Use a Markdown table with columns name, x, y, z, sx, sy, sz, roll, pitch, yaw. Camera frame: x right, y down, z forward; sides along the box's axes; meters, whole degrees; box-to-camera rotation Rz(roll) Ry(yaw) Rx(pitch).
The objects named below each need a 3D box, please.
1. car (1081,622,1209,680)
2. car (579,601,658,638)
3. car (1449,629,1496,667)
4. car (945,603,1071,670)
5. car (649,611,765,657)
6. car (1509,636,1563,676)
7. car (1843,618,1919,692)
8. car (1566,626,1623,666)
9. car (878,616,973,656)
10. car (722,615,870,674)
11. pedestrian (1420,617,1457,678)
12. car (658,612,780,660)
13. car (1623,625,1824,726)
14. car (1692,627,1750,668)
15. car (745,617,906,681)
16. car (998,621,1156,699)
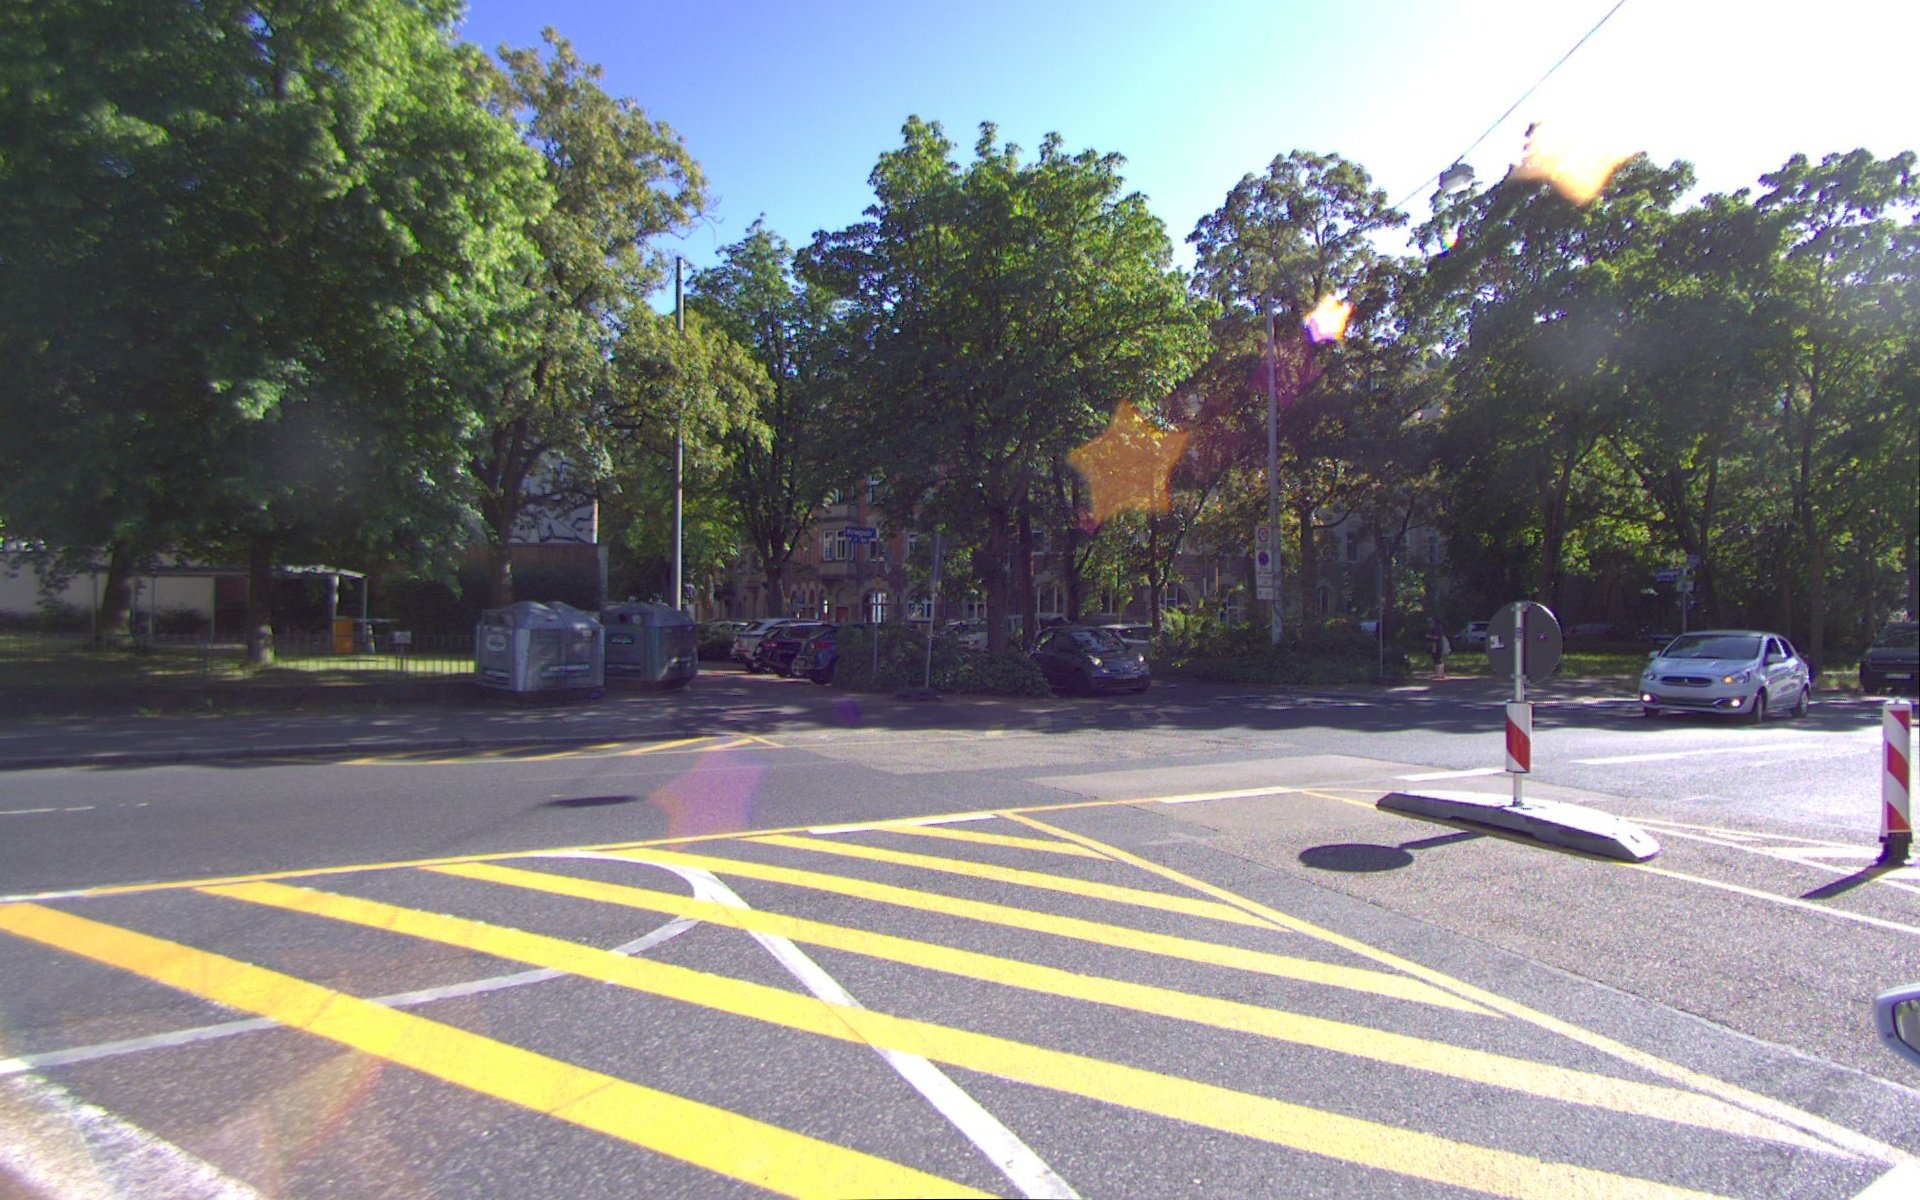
| name | x | y | z | sx | sy | sz | roll | pitch | yaw |
| --- | --- | --- | --- | --- | --- | --- | --- | --- | --- |
| car | 6.218 | 1.729 | 33.741 | 3.956 | 1.675 | 1.836 | 5 | -2 | -31 |
| car | -20.716 | 1.187 | 60.934 | 4.333 | 2.173 | 1.839 | 1 | -1 | -27 |
| car | 24.644 | 2.256 | 48.405 | 1.944 | 1.684 | 3.996 | 0 | -1 | 26 |
| car | 2.021 | 1.528 | 41.621 | 4.930 | 2.354 | 1.836 | 5 | -2 | -31 |
| car | -9.769 | 1.327 | 38.875 | 3.956 | 1.510 | 1.836 | 5 | -2 | -31 |
| car | 26.572 | 2.546 | 46.445 | 1.945 | 1.684 | 3.995 | 0 | -1 | 27 |
| car | 27.103 | 1.509 | 28.225 | 4.809 | 1.955 | 2.186 | 1 | -1 | -32 |
| car | 28.661 | 2.038 | 45.477 | 1.946 | 1.684 | 3.994 | 0 | -1 | 29 |
| car | -1.596 | 1.654 | 46.125 | 3.948 | 1.676 | 1.839 | 2 | 0 | -26 |
| car | -4.910 | 1.347 | 30.221 | 3.956 | 1.510 | 1.836 | 5 | -2 | -31 |
| pedestrian | 13.148 | 1.304 | 27.608 | 0.701 | 1.648 | 0.671 | 1 | 0 | 2 |
| car | -8.892 | 1.335 | 37.056 | 3.956 | 1.510 | 1.836 | 5 | -2 | -31 |
| car | 13.207 | 1.216 | 17.320 | 3.822 | 1.539 | 1.747 | 1 | -2 | -36 |
| car | 33.235 | 2.036 | 43.865 | 1.951 | 1.684 | 3.984 | 0 | -1 | 38 |
| car | -3.689 | 1.363 | 27.782 | 3.956 | 1.510 | 1.836 | 5 | -2 | -31 |
| car | 2.599 | 1.299 | 23.192 | 1.786 | 1.489 | 3.974 | -2 | 1 | -25 |
